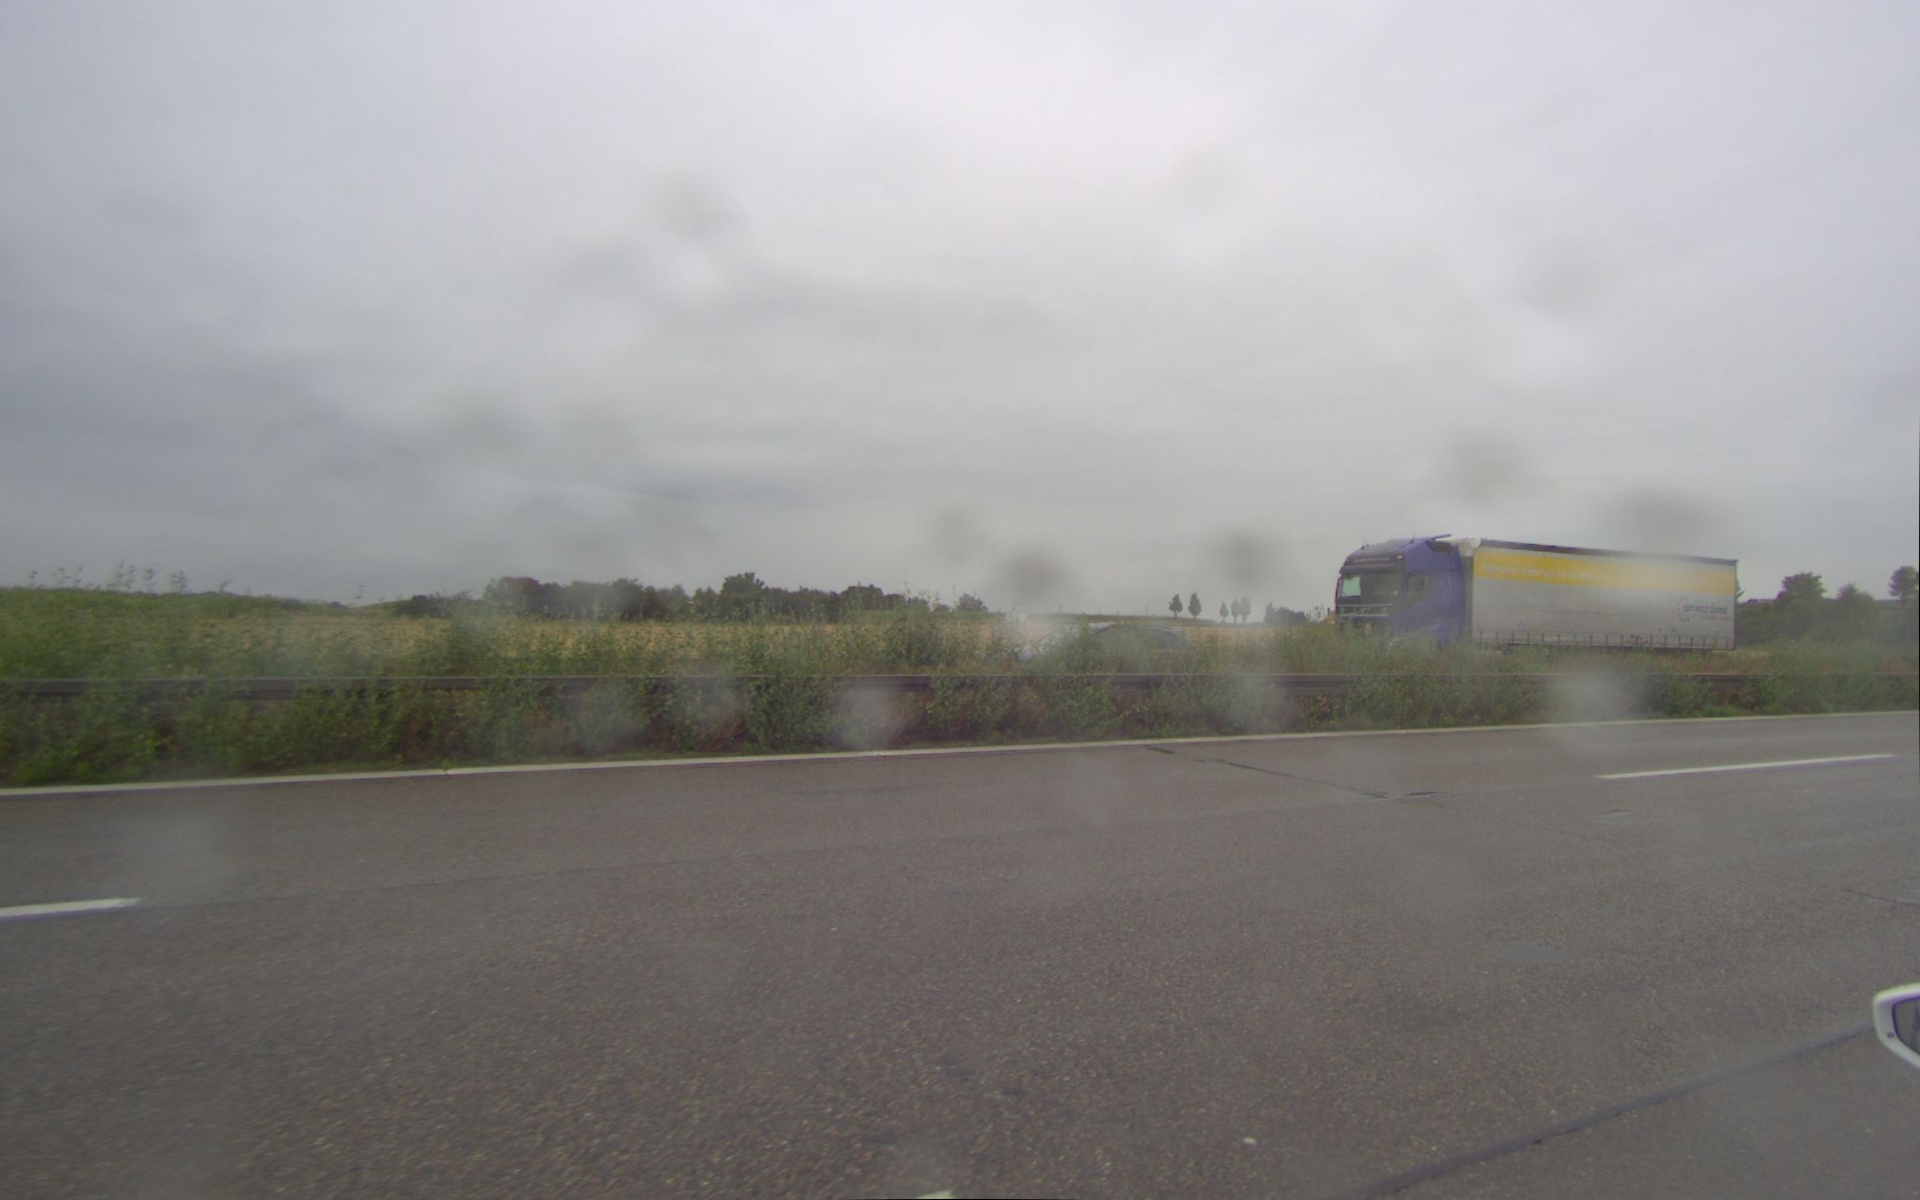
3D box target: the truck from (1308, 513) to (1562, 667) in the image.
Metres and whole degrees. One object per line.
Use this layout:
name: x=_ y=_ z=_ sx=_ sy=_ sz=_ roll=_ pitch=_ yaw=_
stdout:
truck: x=13.827 y=-0.218 z=29.257 sx=6.576 sy=4.020 sz=3.183 roll=2 pitch=1 yaw=-27

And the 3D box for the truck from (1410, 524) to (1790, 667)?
truck: x=21.486 y=0.052 z=33.142 sx=15.119 sy=4.020 sz=3.182 roll=2 pitch=1 yaw=-27
